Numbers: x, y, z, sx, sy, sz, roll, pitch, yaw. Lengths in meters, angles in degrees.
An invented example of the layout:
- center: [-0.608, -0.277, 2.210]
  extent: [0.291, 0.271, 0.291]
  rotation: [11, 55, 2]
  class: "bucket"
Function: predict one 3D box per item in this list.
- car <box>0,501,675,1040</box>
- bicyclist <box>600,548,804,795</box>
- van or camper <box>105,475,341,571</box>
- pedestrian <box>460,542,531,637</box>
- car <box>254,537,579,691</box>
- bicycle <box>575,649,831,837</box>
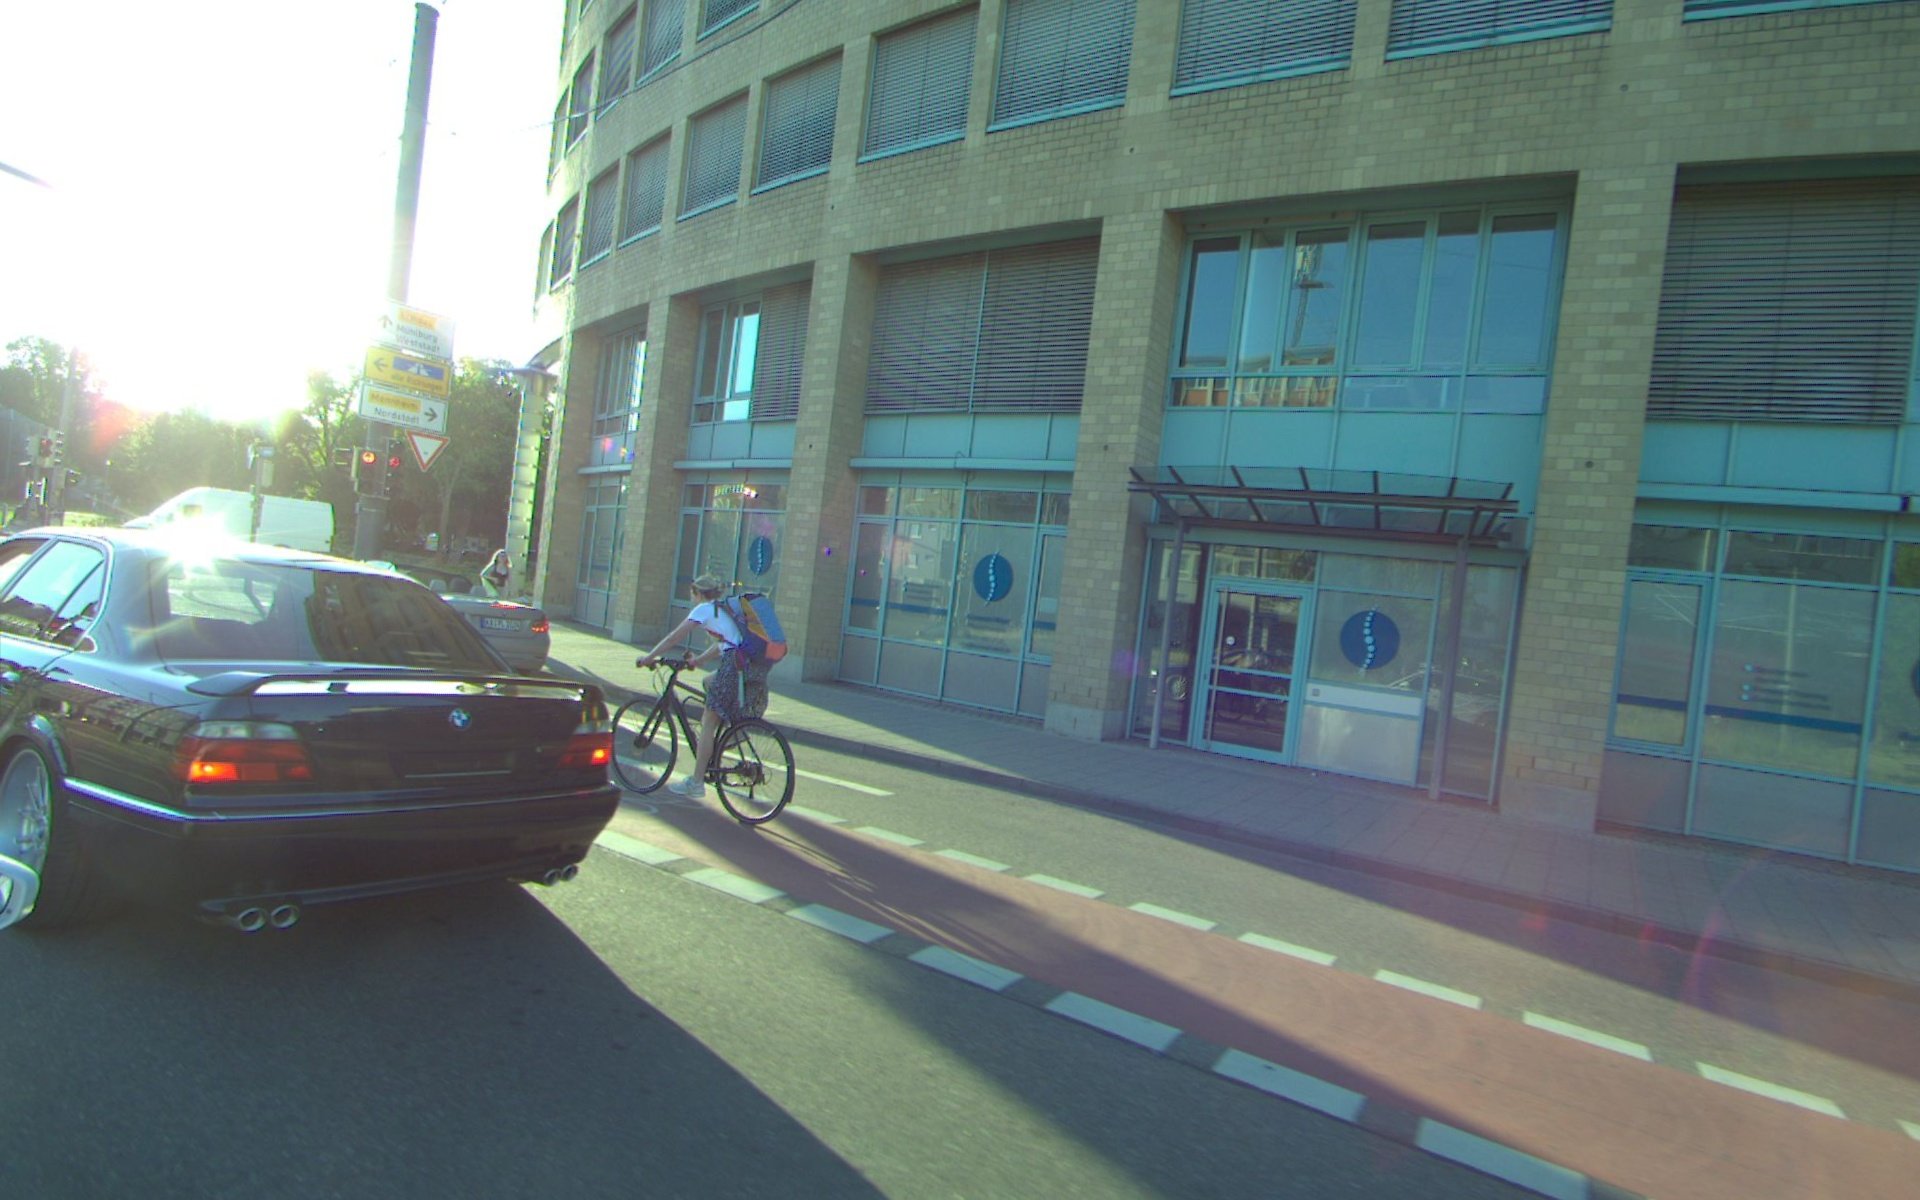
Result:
- center: [-3.711, 0.372, 4.796]
  extent: [4.564, 1.370, 1.833]
  rotation: [8, -1, 32]
  class: "car"
- center: [-1.772, 0.474, 6.928]
  extent: [1.020, 1.500, 0.656]
  rotation: [7, -1, 30]
  class: "bicyclist"
- center: [-29.460, -3.014, 40.552]
  extent: [2.556, 2.707, 7.046]
  rotation: [9, 1, 34]
  class: "van or camper"
- center: [-8.374, -0.182, 18.152]
  extent: [0.786, 1.589, 0.678]
  rotation: [8, 2, 30]
  class: "pedestrian"
- center: [-7.158, 0.163, 13.146]
  extent: [4.195, 1.370, 1.786]
  rotation: [8, -1, 32]
  class: "car"
- center: [-1.789, 0.932, 6.902]
  extent: [1.745, 0.966, 0.516]
  rotation: [6, -2, 30]
  class: "bicycle"
